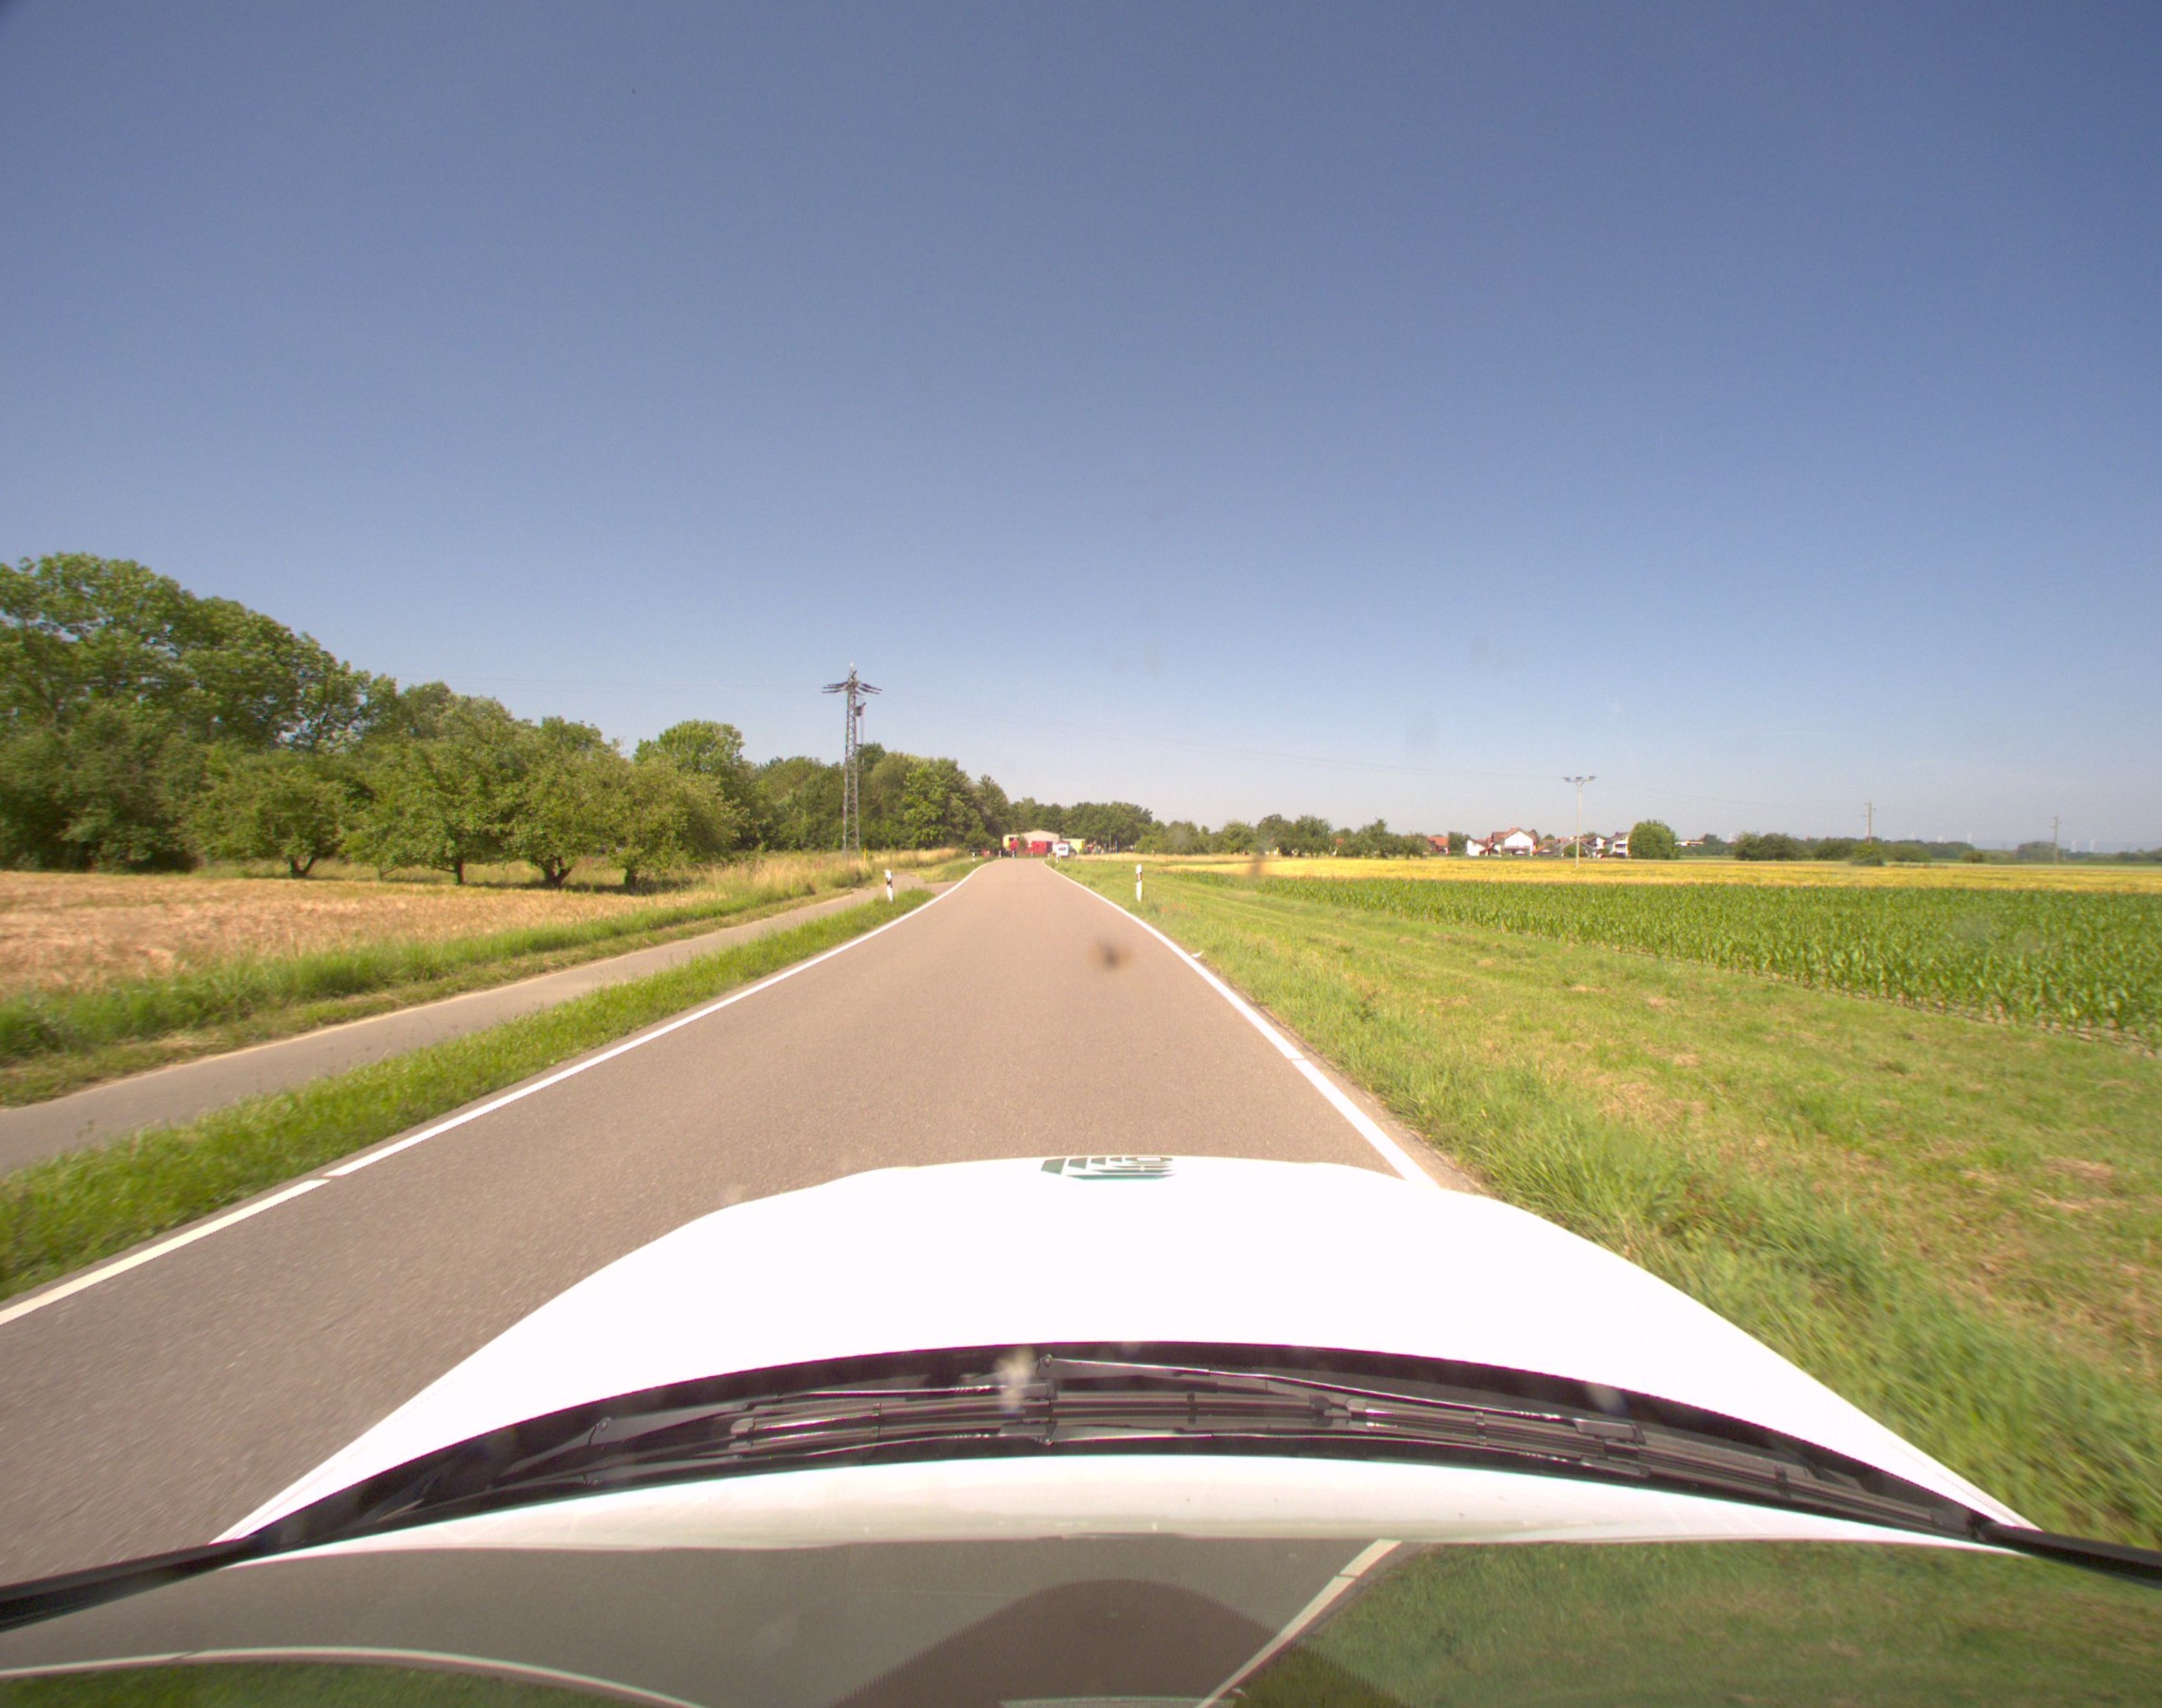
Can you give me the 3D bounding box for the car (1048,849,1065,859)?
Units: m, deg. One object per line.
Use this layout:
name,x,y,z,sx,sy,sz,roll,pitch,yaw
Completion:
car,-4.497,0.039,148.186,1.851,1.753,4.315,0,0,16

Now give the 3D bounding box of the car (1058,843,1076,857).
car,-2.296,-0.729,134.982,1.980,2.266,4.743,1,0,13
